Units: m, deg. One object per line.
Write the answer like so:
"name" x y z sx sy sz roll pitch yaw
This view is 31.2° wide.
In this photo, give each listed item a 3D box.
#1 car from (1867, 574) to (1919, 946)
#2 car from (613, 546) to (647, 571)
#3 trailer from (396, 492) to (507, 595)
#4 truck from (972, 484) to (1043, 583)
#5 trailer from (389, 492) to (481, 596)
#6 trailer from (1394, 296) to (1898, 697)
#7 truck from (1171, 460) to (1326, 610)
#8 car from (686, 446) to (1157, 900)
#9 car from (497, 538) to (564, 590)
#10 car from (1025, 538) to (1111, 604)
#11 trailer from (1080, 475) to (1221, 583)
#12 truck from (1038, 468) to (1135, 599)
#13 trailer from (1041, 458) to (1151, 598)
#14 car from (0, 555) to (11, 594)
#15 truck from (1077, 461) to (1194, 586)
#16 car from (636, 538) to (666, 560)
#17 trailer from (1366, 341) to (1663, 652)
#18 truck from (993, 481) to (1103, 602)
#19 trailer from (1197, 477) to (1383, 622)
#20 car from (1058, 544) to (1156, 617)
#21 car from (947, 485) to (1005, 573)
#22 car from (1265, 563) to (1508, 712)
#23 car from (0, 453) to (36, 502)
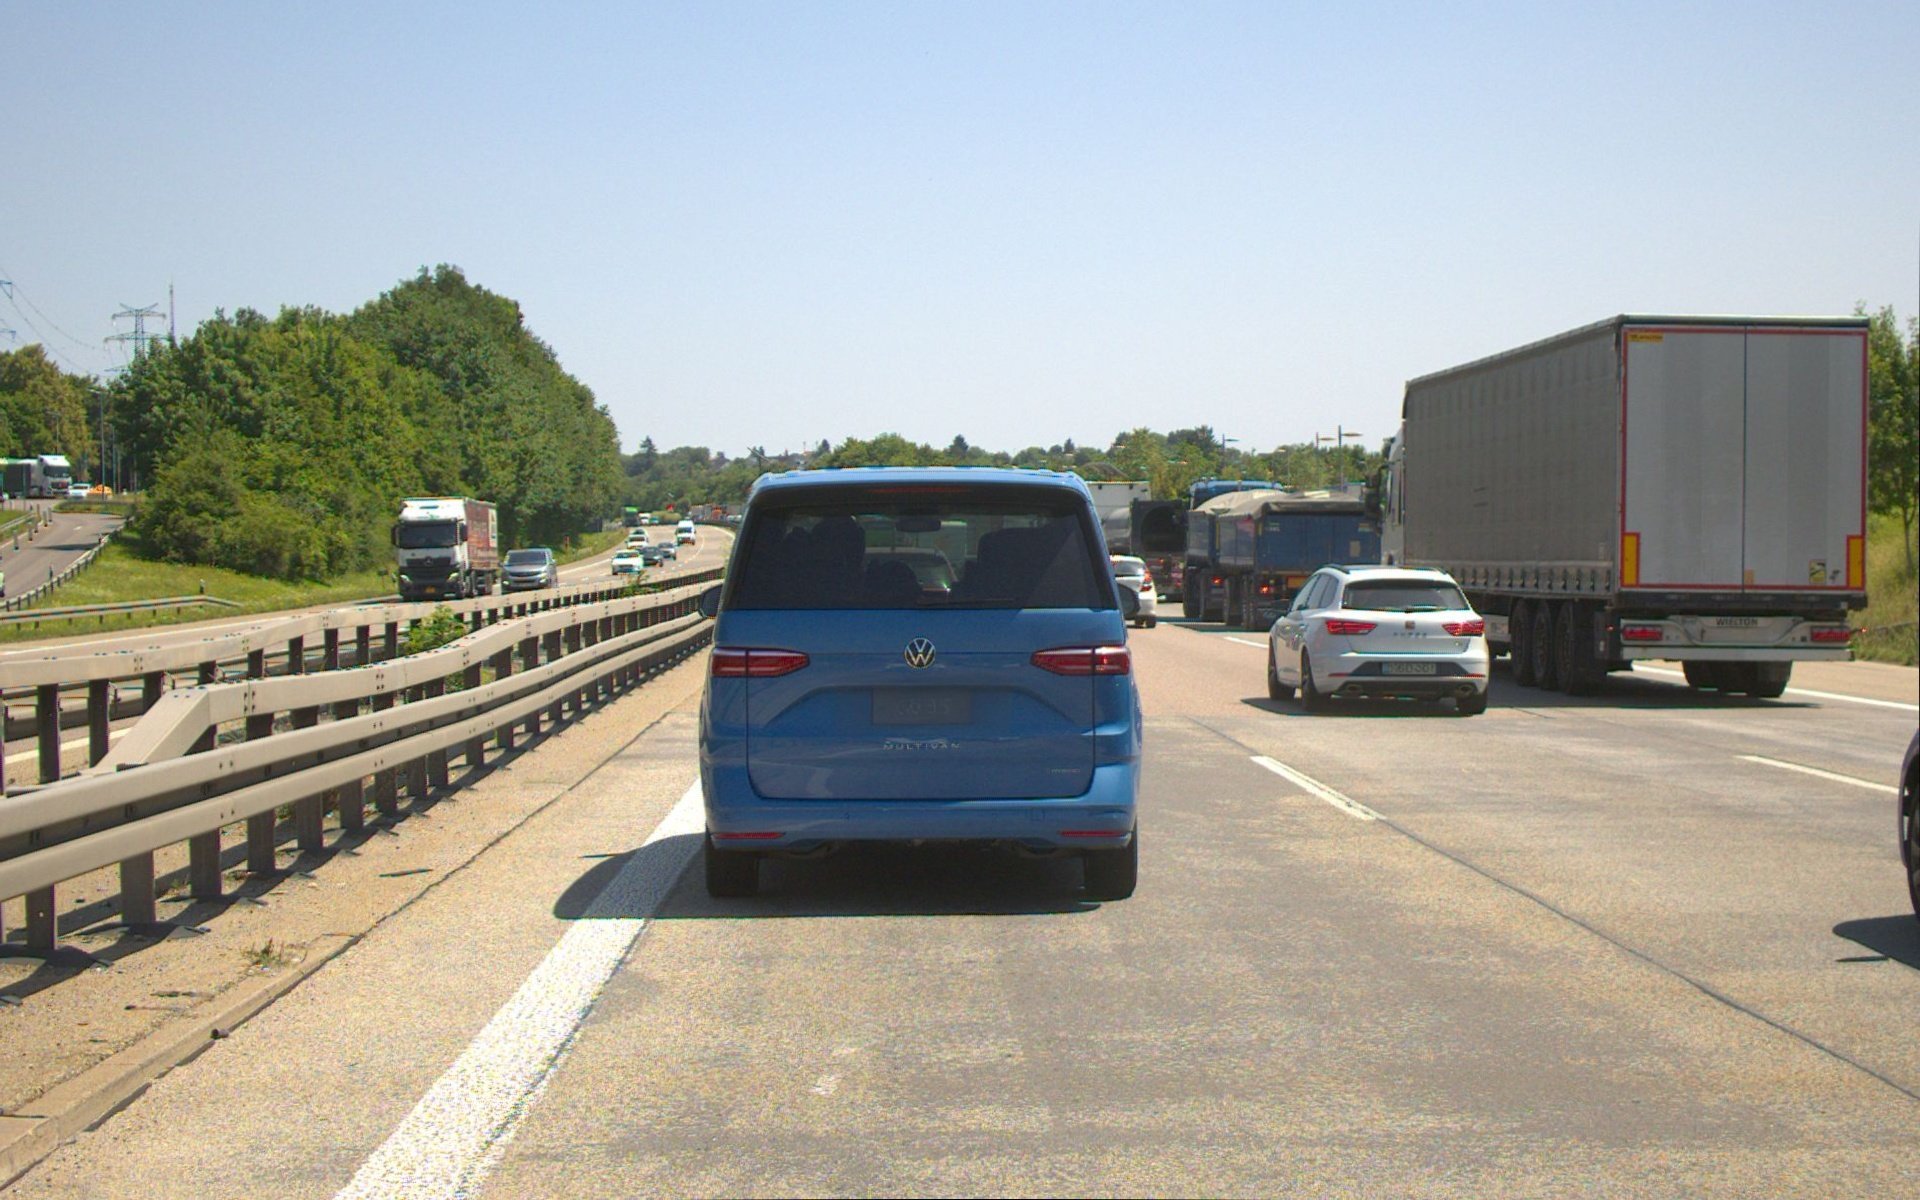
"car" 4.607 0.634 11.809 1.706 1.436 4.428 1 0 -1
"car" -20.024 -2.512 208.494 1.850 1.462 4.305 -1 0 -3
"trailer" -21.080 -2.370 143.421 2.763 3.962 14.683 -2 1 -2
"truck" 2.402 -3.356 178.825 3.068 4.903 10.691 1 0 -2
"trailer" -20.902 -2.252 137.081 2.756 3.962 6.132 -2 1 -2
"trailer" 7.785 -1.124 41.541 2.962 4.035 13.753 0 1 -2
"truck" 6.620 -1.536 79.860 2.743 3.300 7.133 1 1 -2
"car" -0.174 0.298 16.106 1.901 1.831 4.000 1 0 0
"car" -16.563 -1.360 132.721 1.993 1.934 4.897 1 0 -1
"car" 2.584 -0.692 83.008 1.780 1.519 4.000 1 0 -2
"trailer" 5.918 -2.141 109.705 3.646 3.068 15.772 1 0 0
"truck" 5.106 -2.640 139.633 3.658 5.162 5.708 1 0 0
"trailer" 5.161 -2.655 133.471 3.646 5.119 13.075 1 0 0
"car" -36.958 -0.972 130.376 1.685 1.451 4.347 1 0 -13
"truck" 5.954 -2.548 117.777 3.626 4.080 7.524 1 0 1
"car" -21.785 -3.627 242.563 1.876 1.441 4.145 -2 0 -3
"trailer" 7.604 -1.399 47.981 2.924 4.030 6.411 0 1 -2
"truck" 3.871 -2.532 156.195 3.621 5.195 15.691 1 0 -3
"trailer" 6.831 -1.120 72.484 2.743 2.827 9.116 1 1 -2
"car" 3.046 -0.396 72.090 1.840 1.449 4.000 1 0 0
"car" 0.955 -4.315 211.310 3.218 5.239 8.144 1 0 -2
"car" 4.158 0.331 34.082 1.867 1.356 4.000 1 1 0
"car" -60.539 -7.826 219.936 2.068 2.870 6.734 -1 0 -20
